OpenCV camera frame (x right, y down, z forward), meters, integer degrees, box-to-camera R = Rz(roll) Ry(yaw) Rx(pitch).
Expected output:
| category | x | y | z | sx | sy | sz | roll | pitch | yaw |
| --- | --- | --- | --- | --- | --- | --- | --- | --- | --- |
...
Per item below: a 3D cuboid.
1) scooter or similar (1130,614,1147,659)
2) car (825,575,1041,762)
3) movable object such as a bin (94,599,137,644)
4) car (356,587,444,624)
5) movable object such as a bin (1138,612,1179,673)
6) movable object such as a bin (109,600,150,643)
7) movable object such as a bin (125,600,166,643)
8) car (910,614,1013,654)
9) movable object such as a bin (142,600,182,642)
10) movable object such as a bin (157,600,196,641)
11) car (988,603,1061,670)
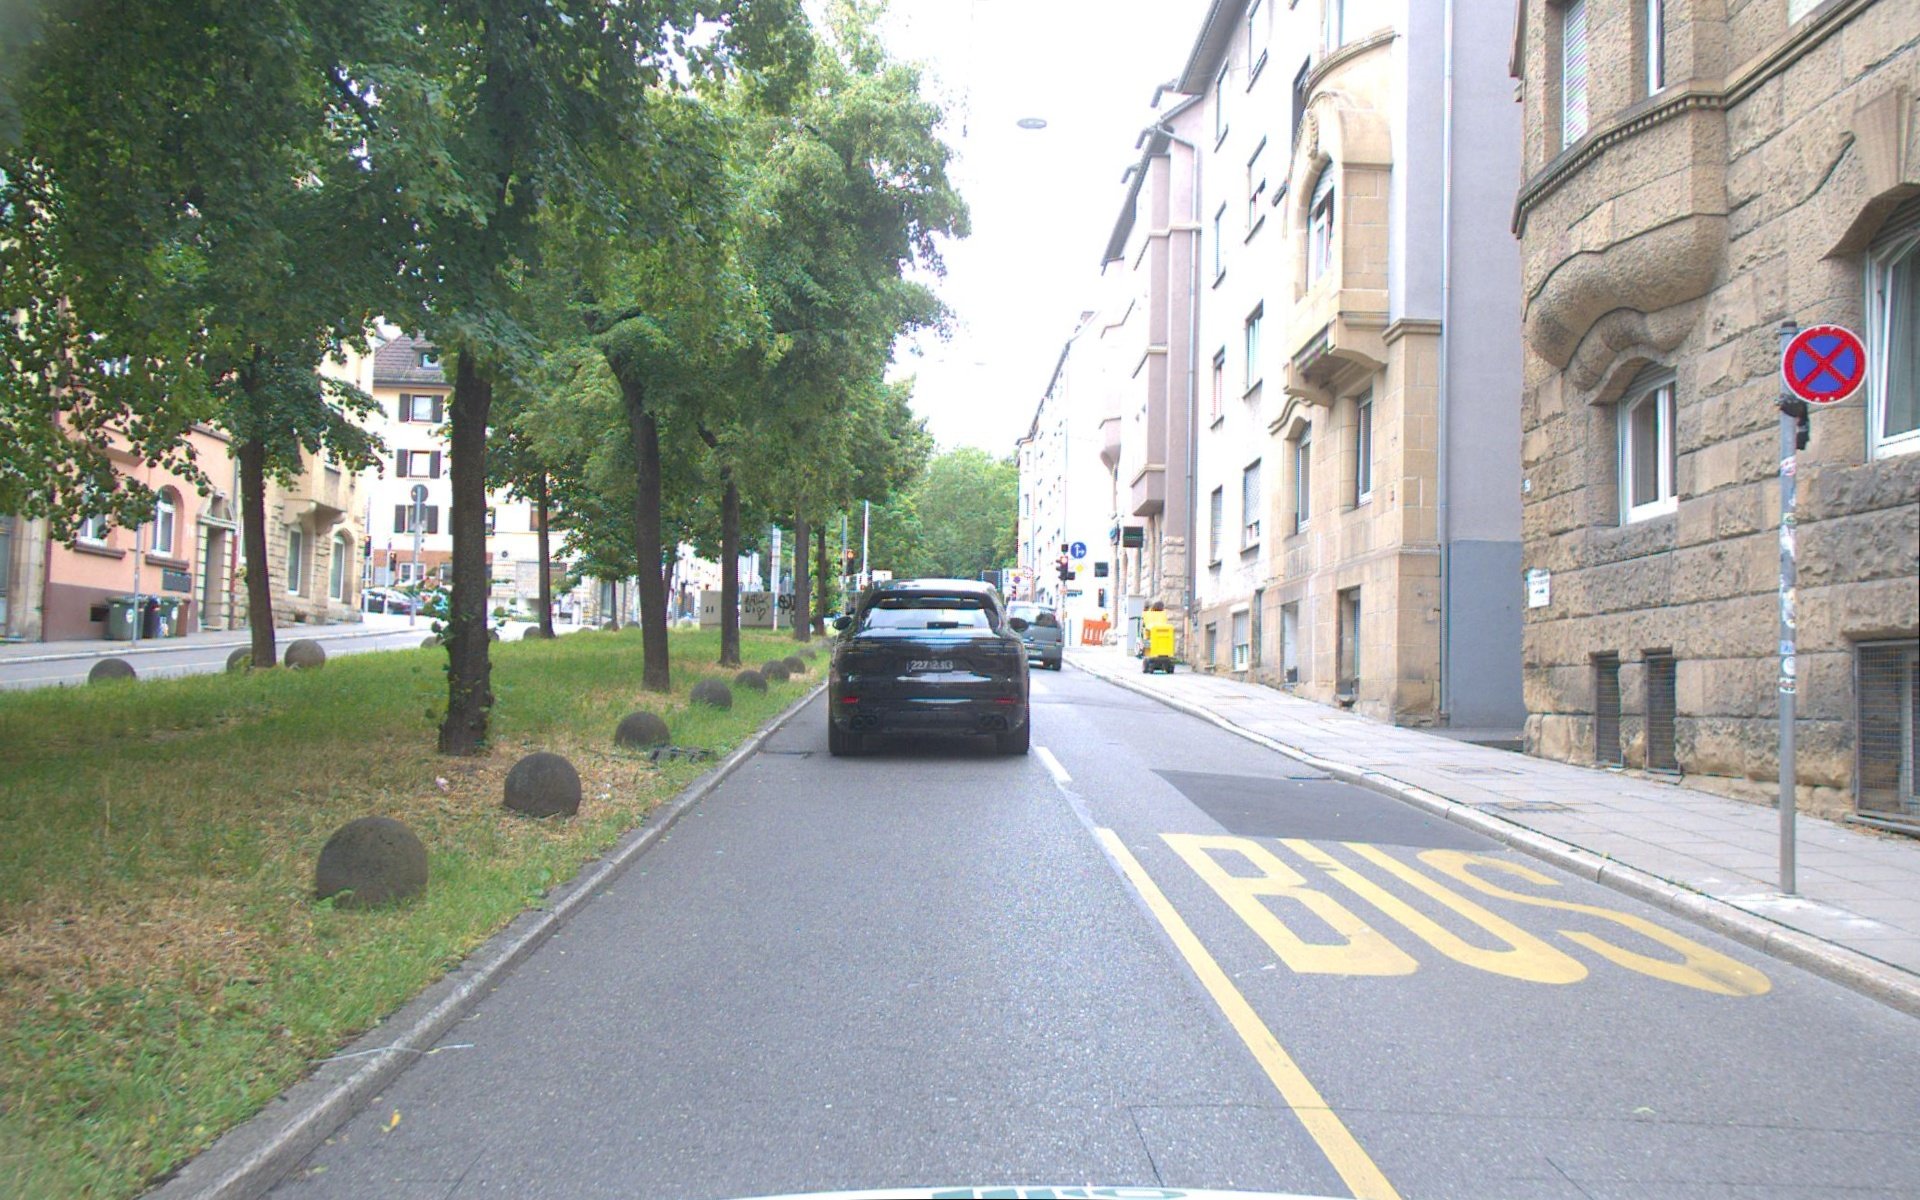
| category | x | y | z | sx | sy | sz | roll | pitch | yaw |
| --- | --- | --- | --- | --- | --- | --- | --- | --- | --- |
| scooter or similar | 5.104 | 1.038 | 47.392 | 0.392 | 1.209 | 1.355 | 0 | 1 | 3 |
| car | -0.255 | 0.614 | 16.995 | 1.953 | 1.682 | 4.000 | 0 | 0 | 0 |
| movable object such as a bin | -18.177 | 0.462 | 35.612 | 0.597 | 0.920 | 0.601 | 2 | -1 | -5 |
| car | -26.714 | 0.274 | 78.874 | 3.915 | 1.694 | 1.877 | 0 | -2 | 32 |
| movable object such as a bin | 4.767 | 1.024 | 39.799 | 0.705 | 1.446 | 1.692 | 0 | -1 | -3 |
| movable object such as a bin | -18.195 | 0.469 | 36.246 | 0.597 | 0.920 | 0.601 | 2 | -1 | -5 |
| movable object such as a bin | -18.209 | 0.474 | 36.976 | 0.597 | 0.920 | 0.601 | 2 | -1 | -5 |
| car | 0.078 | 1.423 | 70.567 | 4.115 | 1.537 | 1.801 | 2 | 0 | 11 |
| movable object such as a bin | -18.214 | 0.482 | 37.749 | 0.597 | 0.920 | 0.601 | 2 | -1 | -5 |
| movable object such as a bin | -18.217 | 0.483 | 38.465 | 0.597 | 0.920 | 0.601 | 2 | -1 | -5 |
| car | 1.604 | 0.905 | 42.128 | 1.716 | 1.621 | 3.630 | 0 | 0 | 0 |
